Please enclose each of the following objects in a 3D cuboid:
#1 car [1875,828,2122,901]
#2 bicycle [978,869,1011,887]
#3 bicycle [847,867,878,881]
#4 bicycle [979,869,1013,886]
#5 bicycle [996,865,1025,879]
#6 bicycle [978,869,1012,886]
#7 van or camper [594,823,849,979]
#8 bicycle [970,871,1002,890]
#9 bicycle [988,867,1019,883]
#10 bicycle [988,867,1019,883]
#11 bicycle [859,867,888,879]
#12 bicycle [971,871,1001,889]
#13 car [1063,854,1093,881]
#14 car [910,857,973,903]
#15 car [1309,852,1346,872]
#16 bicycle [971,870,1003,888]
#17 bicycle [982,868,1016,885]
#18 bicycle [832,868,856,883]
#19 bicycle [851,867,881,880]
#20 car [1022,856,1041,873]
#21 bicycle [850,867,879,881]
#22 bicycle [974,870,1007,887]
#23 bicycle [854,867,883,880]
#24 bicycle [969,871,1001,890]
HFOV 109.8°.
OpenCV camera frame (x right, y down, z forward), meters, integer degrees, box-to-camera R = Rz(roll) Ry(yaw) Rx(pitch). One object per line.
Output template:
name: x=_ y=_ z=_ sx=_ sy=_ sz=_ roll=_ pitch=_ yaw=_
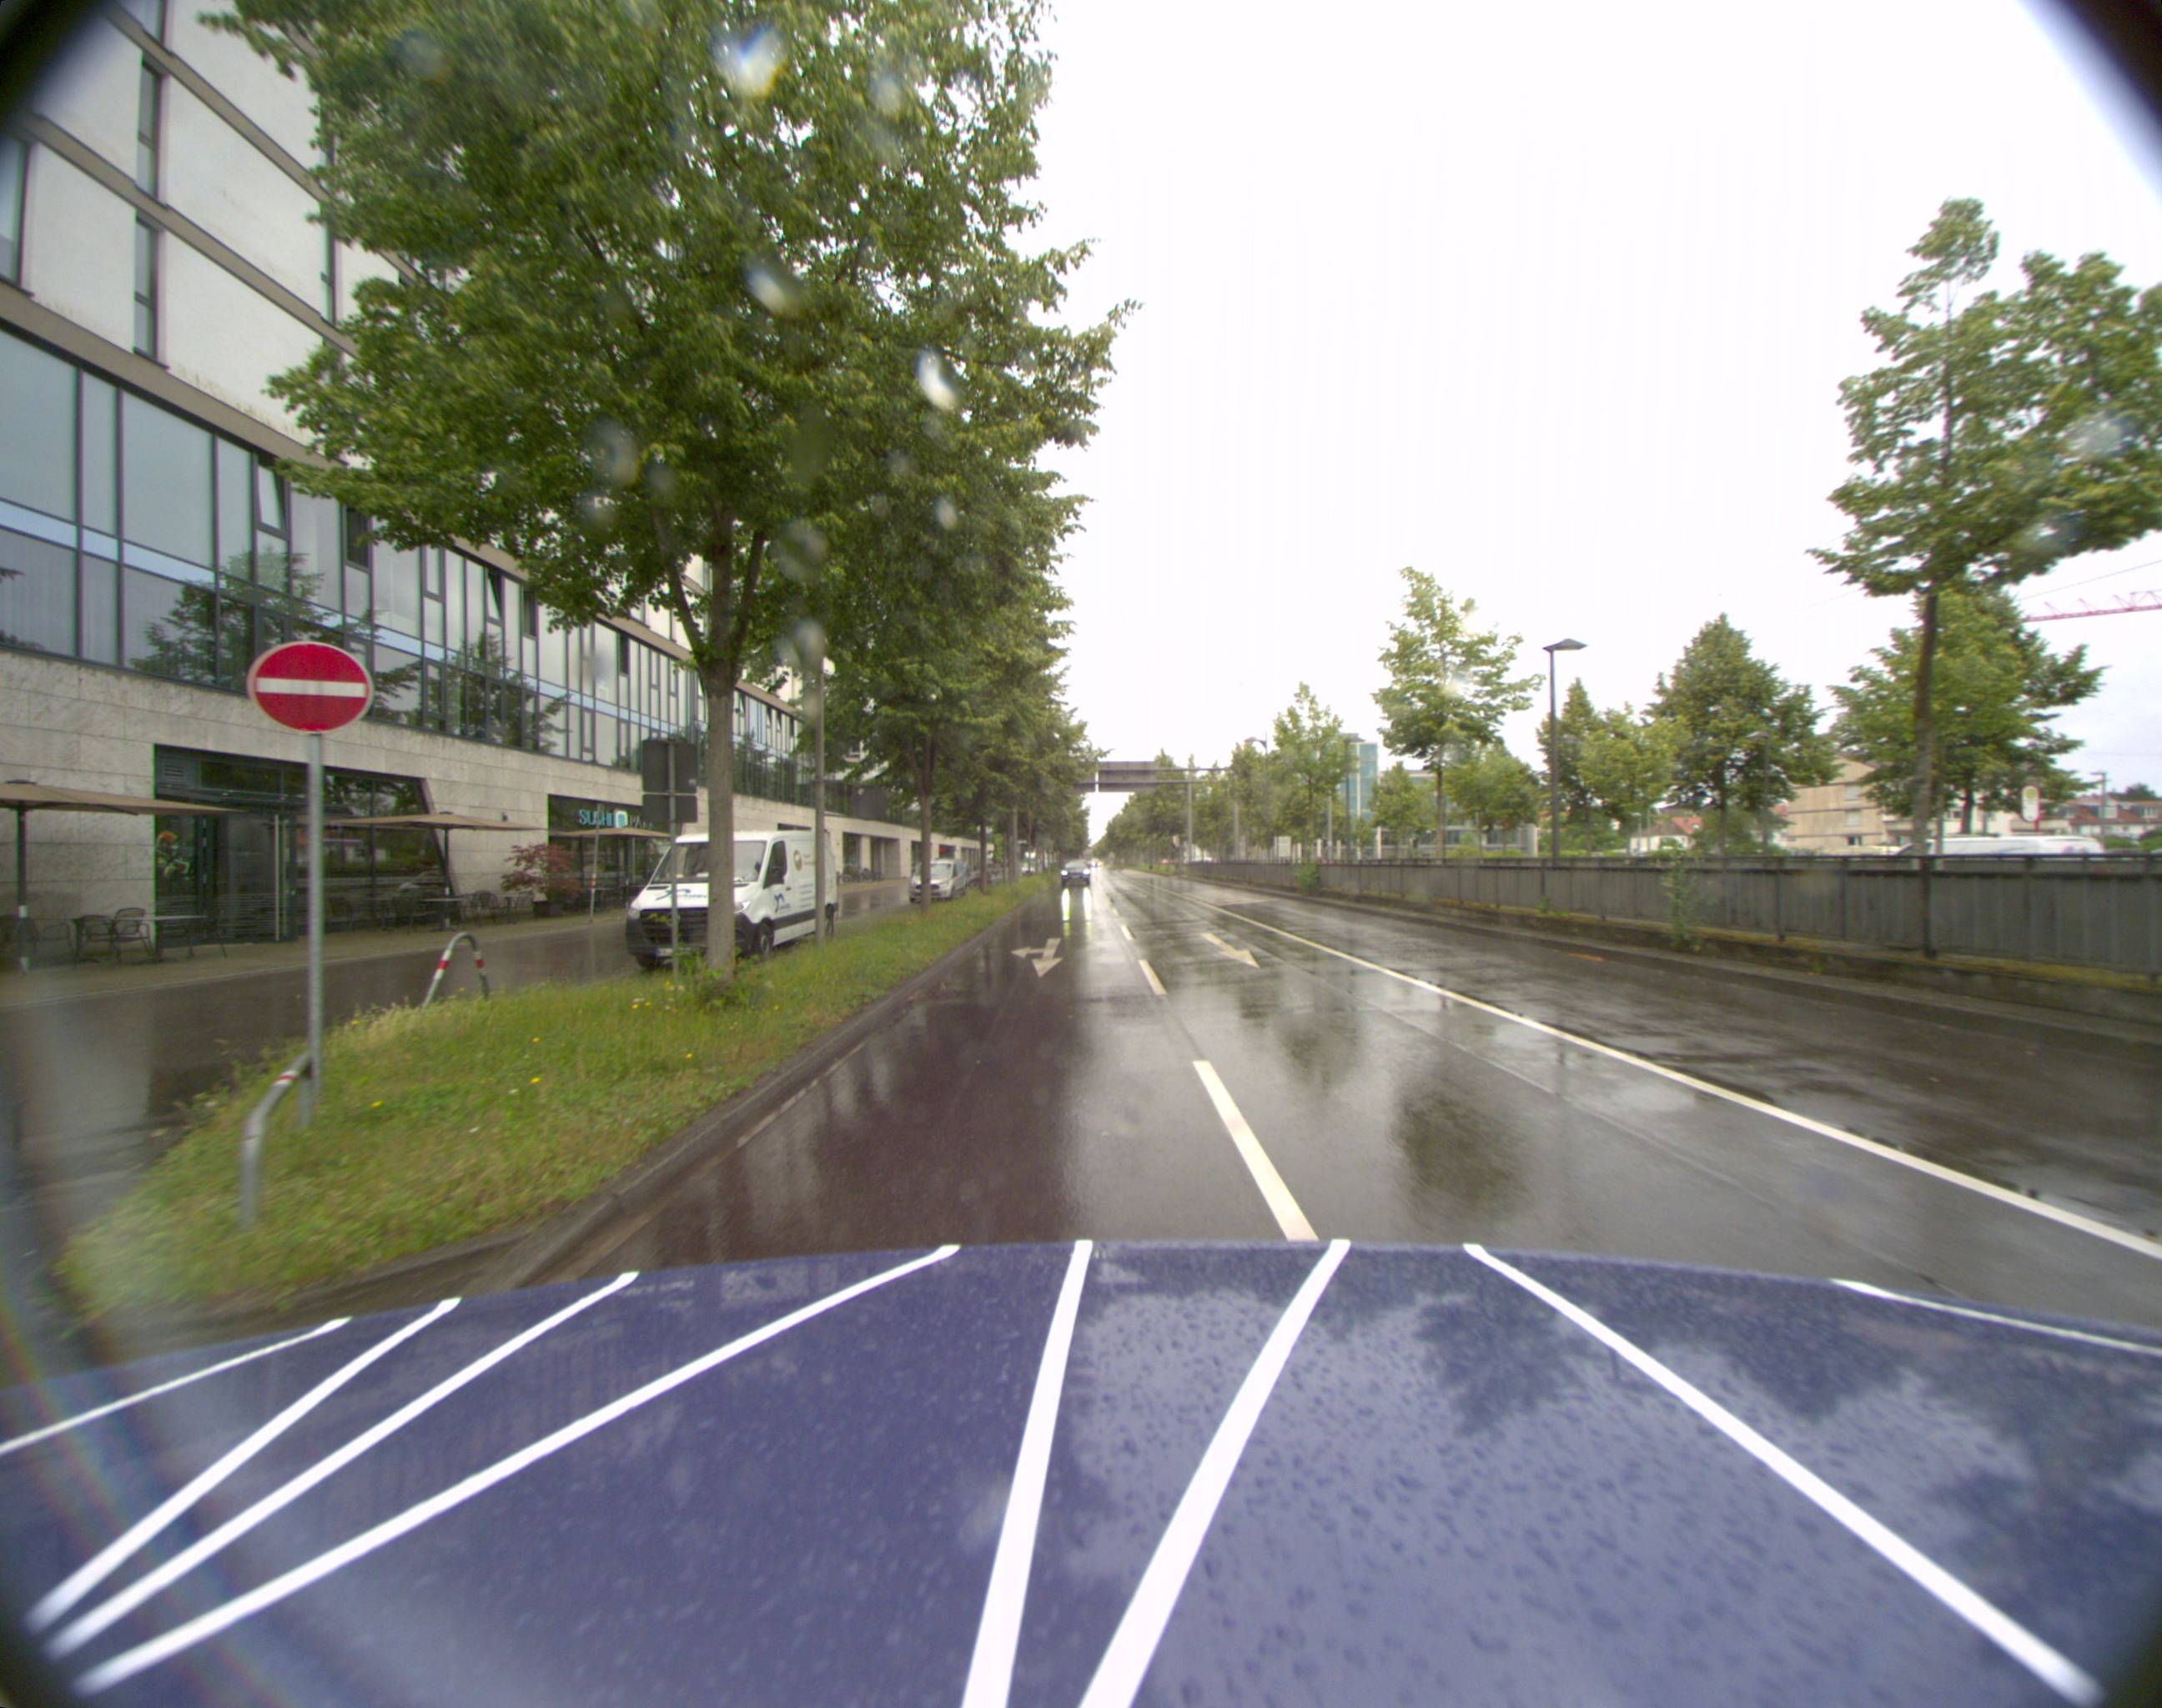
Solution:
car: x=25.422 y=0.252 z=21.316 sx=1.999 sy=1.736 sz=3.999 roll=-3 pitch=0 yaw=-2
bicycle: x=-5.231 y=1.443 z=45.958 sx=1.882 sy=0.940 sz=0.395 roll=-3 pitch=1 yaw=-3
bicycle: x=-15.556 y=1.433 z=54.136 sx=2.029 sy=0.940 sz=0.395 roll=0 pitch=1 yaw=-3
bicycle: x=-5.248 y=1.439 z=46.889 sx=2.040 sy=0.940 sz=0.395 roll=-3 pitch=1 yaw=-3
bicycle: x=-5.228 y=1.320 z=56.444 sx=2.040 sy=0.940 sz=0.519 roll=-3 pitch=1 yaw=-3
bicycle: x=-5.261 y=1.440 z=46.450 sx=2.007 sy=0.940 sz=0.395 roll=-3 pitch=1 yaw=-3
van or camper: x=-6.172 y=0.694 z=14.019 sx=2.030 sy=2.279 sz=5.460 roll=-2 pitch=0 yaw=0
bicycle: x=-5.429 y=1.504 z=43.457 sx=1.698 sy=0.940 sz=0.395 roll=-3 pitch=1 yaw=-3
bicycle: x=-5.263 y=1.413 z=51.768 sx=2.040 sy=0.940 sz=0.542 roll=-3 pitch=1 yaw=-3
bicycle: x=-5.172 y=1.413 z=50.813 sx=2.040 sy=0.940 sz=0.466 roll=-3 pitch=1 yaw=-3
bicycle: x=-15.637 y=1.435 z=57.260 sx=2.029 sy=0.940 sz=0.395 roll=0 pitch=1 yaw=-3
bicycle: x=-5.513 y=1.505 z=44.169 sx=1.649 sy=0.940 sz=0.395 roll=-3 pitch=1 yaw=-3
car: x=-0.176 y=0.863 z=50.656 sx=1.816 sy=1.603 sz=4.000 roll=-3 pitch=0 yaw=2
car: x=-5.933 y=1.042 z=32.809 sx=1.746 sy=1.749 sz=4.848 roll=-2 pitch=0 yaw=0
car: x=22.902 y=0.707 z=70.704 sx=1.999 sy=1.736 sz=3.999 roll=-3 pitch=0 yaw=-2
bicycle: x=-5.534 y=1.469 z=44.697 sx=1.793 sy=0.940 sz=0.395 roll=-3 pitch=1 yaw=-3
bicycle: x=-5.199 y=1.429 z=48.236 sx=2.040 sy=0.940 sz=0.395 roll=-3 pitch=1 yaw=-3
bicycle: x=-15.772 y=1.439 z=50.548 sx=1.657 sy=0.940 sz=0.347 roll=0 pitch=1 yaw=19
bicycle: x=-15.675 y=1.437 z=55.427 sx=2.029 sy=0.940 sz=0.395 roll=0 pitch=1 yaw=-3
car: x=-5.347 y=1.086 z=81.972 sx=1.658 sy=1.710 sz=4.000 roll=-3 pitch=0 yaw=0
bicycle: x=-15.624 y=1.435 z=54.835 sx=2.029 sy=0.940 sz=0.395 roll=0 pitch=1 yaw=-3
bicycle: x=-5.414 y=1.458 z=45.385 sx=1.861 sy=0.940 sz=0.395 roll=-3 pitch=1 yaw=-3
bicycle: x=-15.677 y=1.426 z=56.006 sx=2.029 sy=0.940 sz=0.395 roll=0 pitch=1 yaw=-3
bicycle: x=-5.395 y=1.477 z=42.741 sx=1.666 sy=0.940 sz=0.395 roll=-3 pitch=1 yaw=-3
